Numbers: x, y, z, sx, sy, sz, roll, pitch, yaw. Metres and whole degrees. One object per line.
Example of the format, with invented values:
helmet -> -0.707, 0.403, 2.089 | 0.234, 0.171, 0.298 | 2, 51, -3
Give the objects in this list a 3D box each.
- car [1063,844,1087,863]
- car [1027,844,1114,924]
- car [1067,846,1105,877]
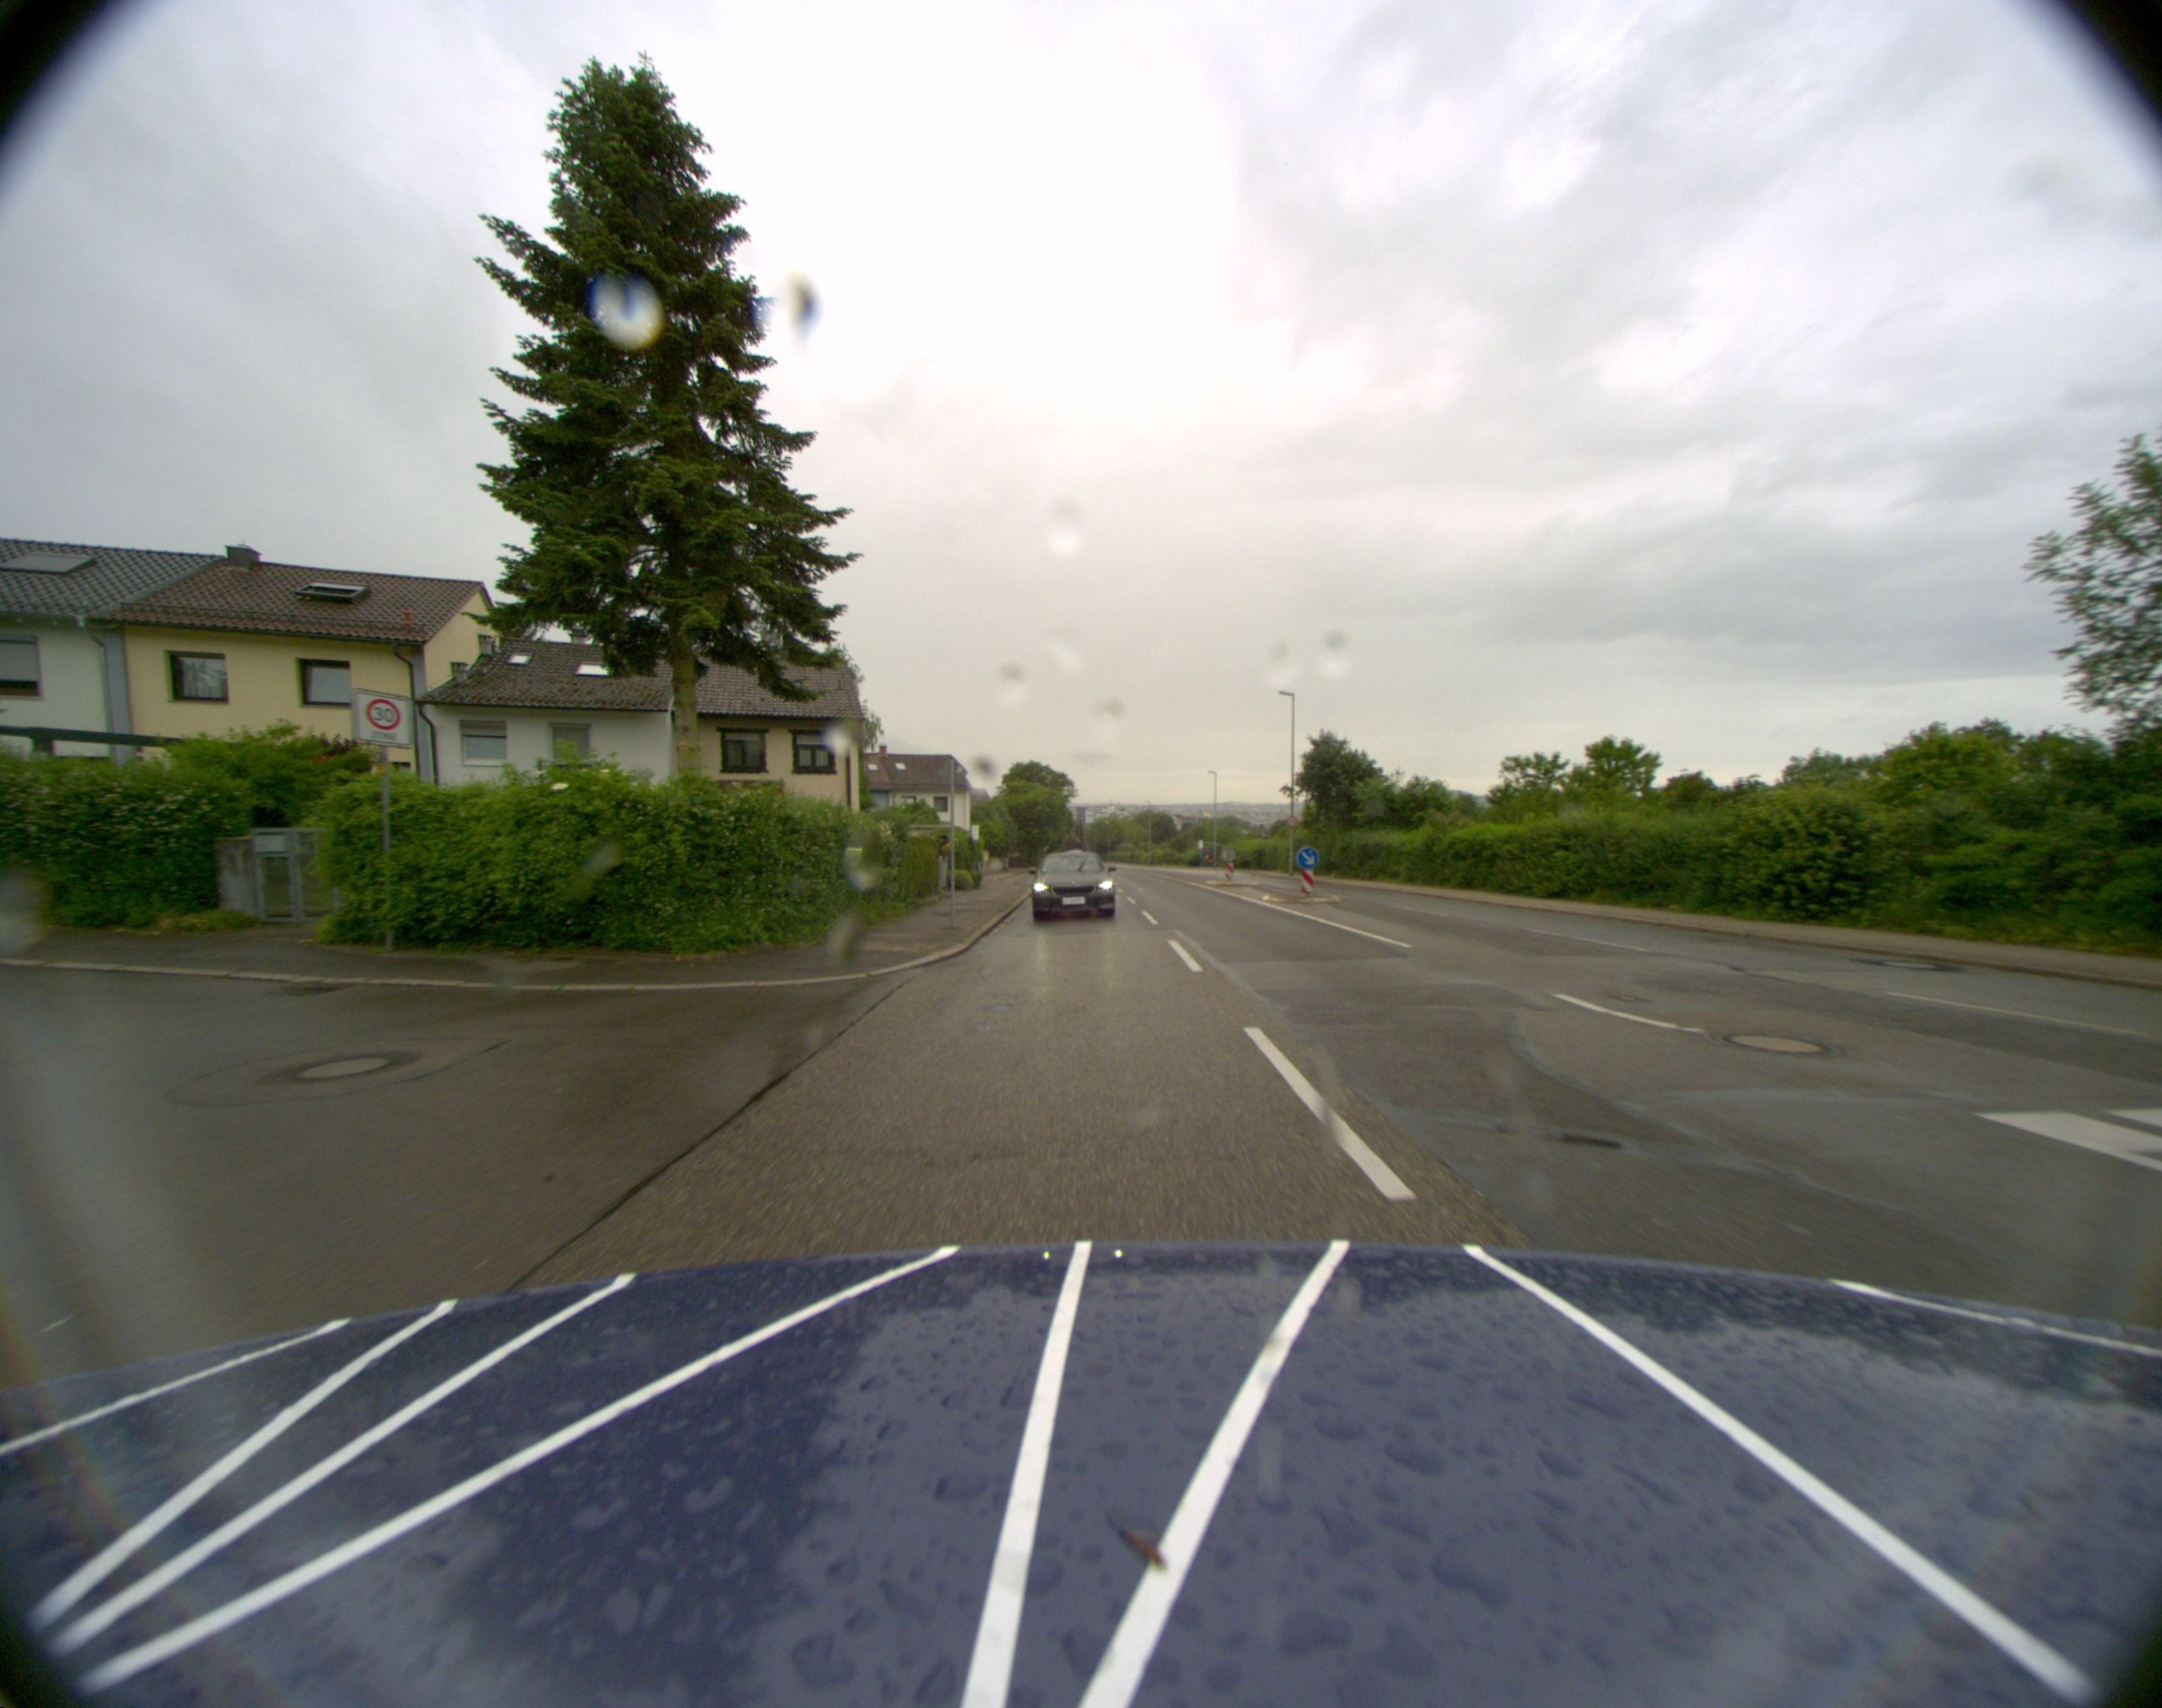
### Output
car -> -0.545, -0.068, 67.924 | 1.999, 1.674, 4.172 | 0, 1, -2
car -> -0.136, 0.636, 18.592 | 1.828, 1.668, 4.296 | -2, 0, 2
car -> 0.223, 0.399, 43.343 | 1.999, 1.674, 4.172 | 0, 1, -2
